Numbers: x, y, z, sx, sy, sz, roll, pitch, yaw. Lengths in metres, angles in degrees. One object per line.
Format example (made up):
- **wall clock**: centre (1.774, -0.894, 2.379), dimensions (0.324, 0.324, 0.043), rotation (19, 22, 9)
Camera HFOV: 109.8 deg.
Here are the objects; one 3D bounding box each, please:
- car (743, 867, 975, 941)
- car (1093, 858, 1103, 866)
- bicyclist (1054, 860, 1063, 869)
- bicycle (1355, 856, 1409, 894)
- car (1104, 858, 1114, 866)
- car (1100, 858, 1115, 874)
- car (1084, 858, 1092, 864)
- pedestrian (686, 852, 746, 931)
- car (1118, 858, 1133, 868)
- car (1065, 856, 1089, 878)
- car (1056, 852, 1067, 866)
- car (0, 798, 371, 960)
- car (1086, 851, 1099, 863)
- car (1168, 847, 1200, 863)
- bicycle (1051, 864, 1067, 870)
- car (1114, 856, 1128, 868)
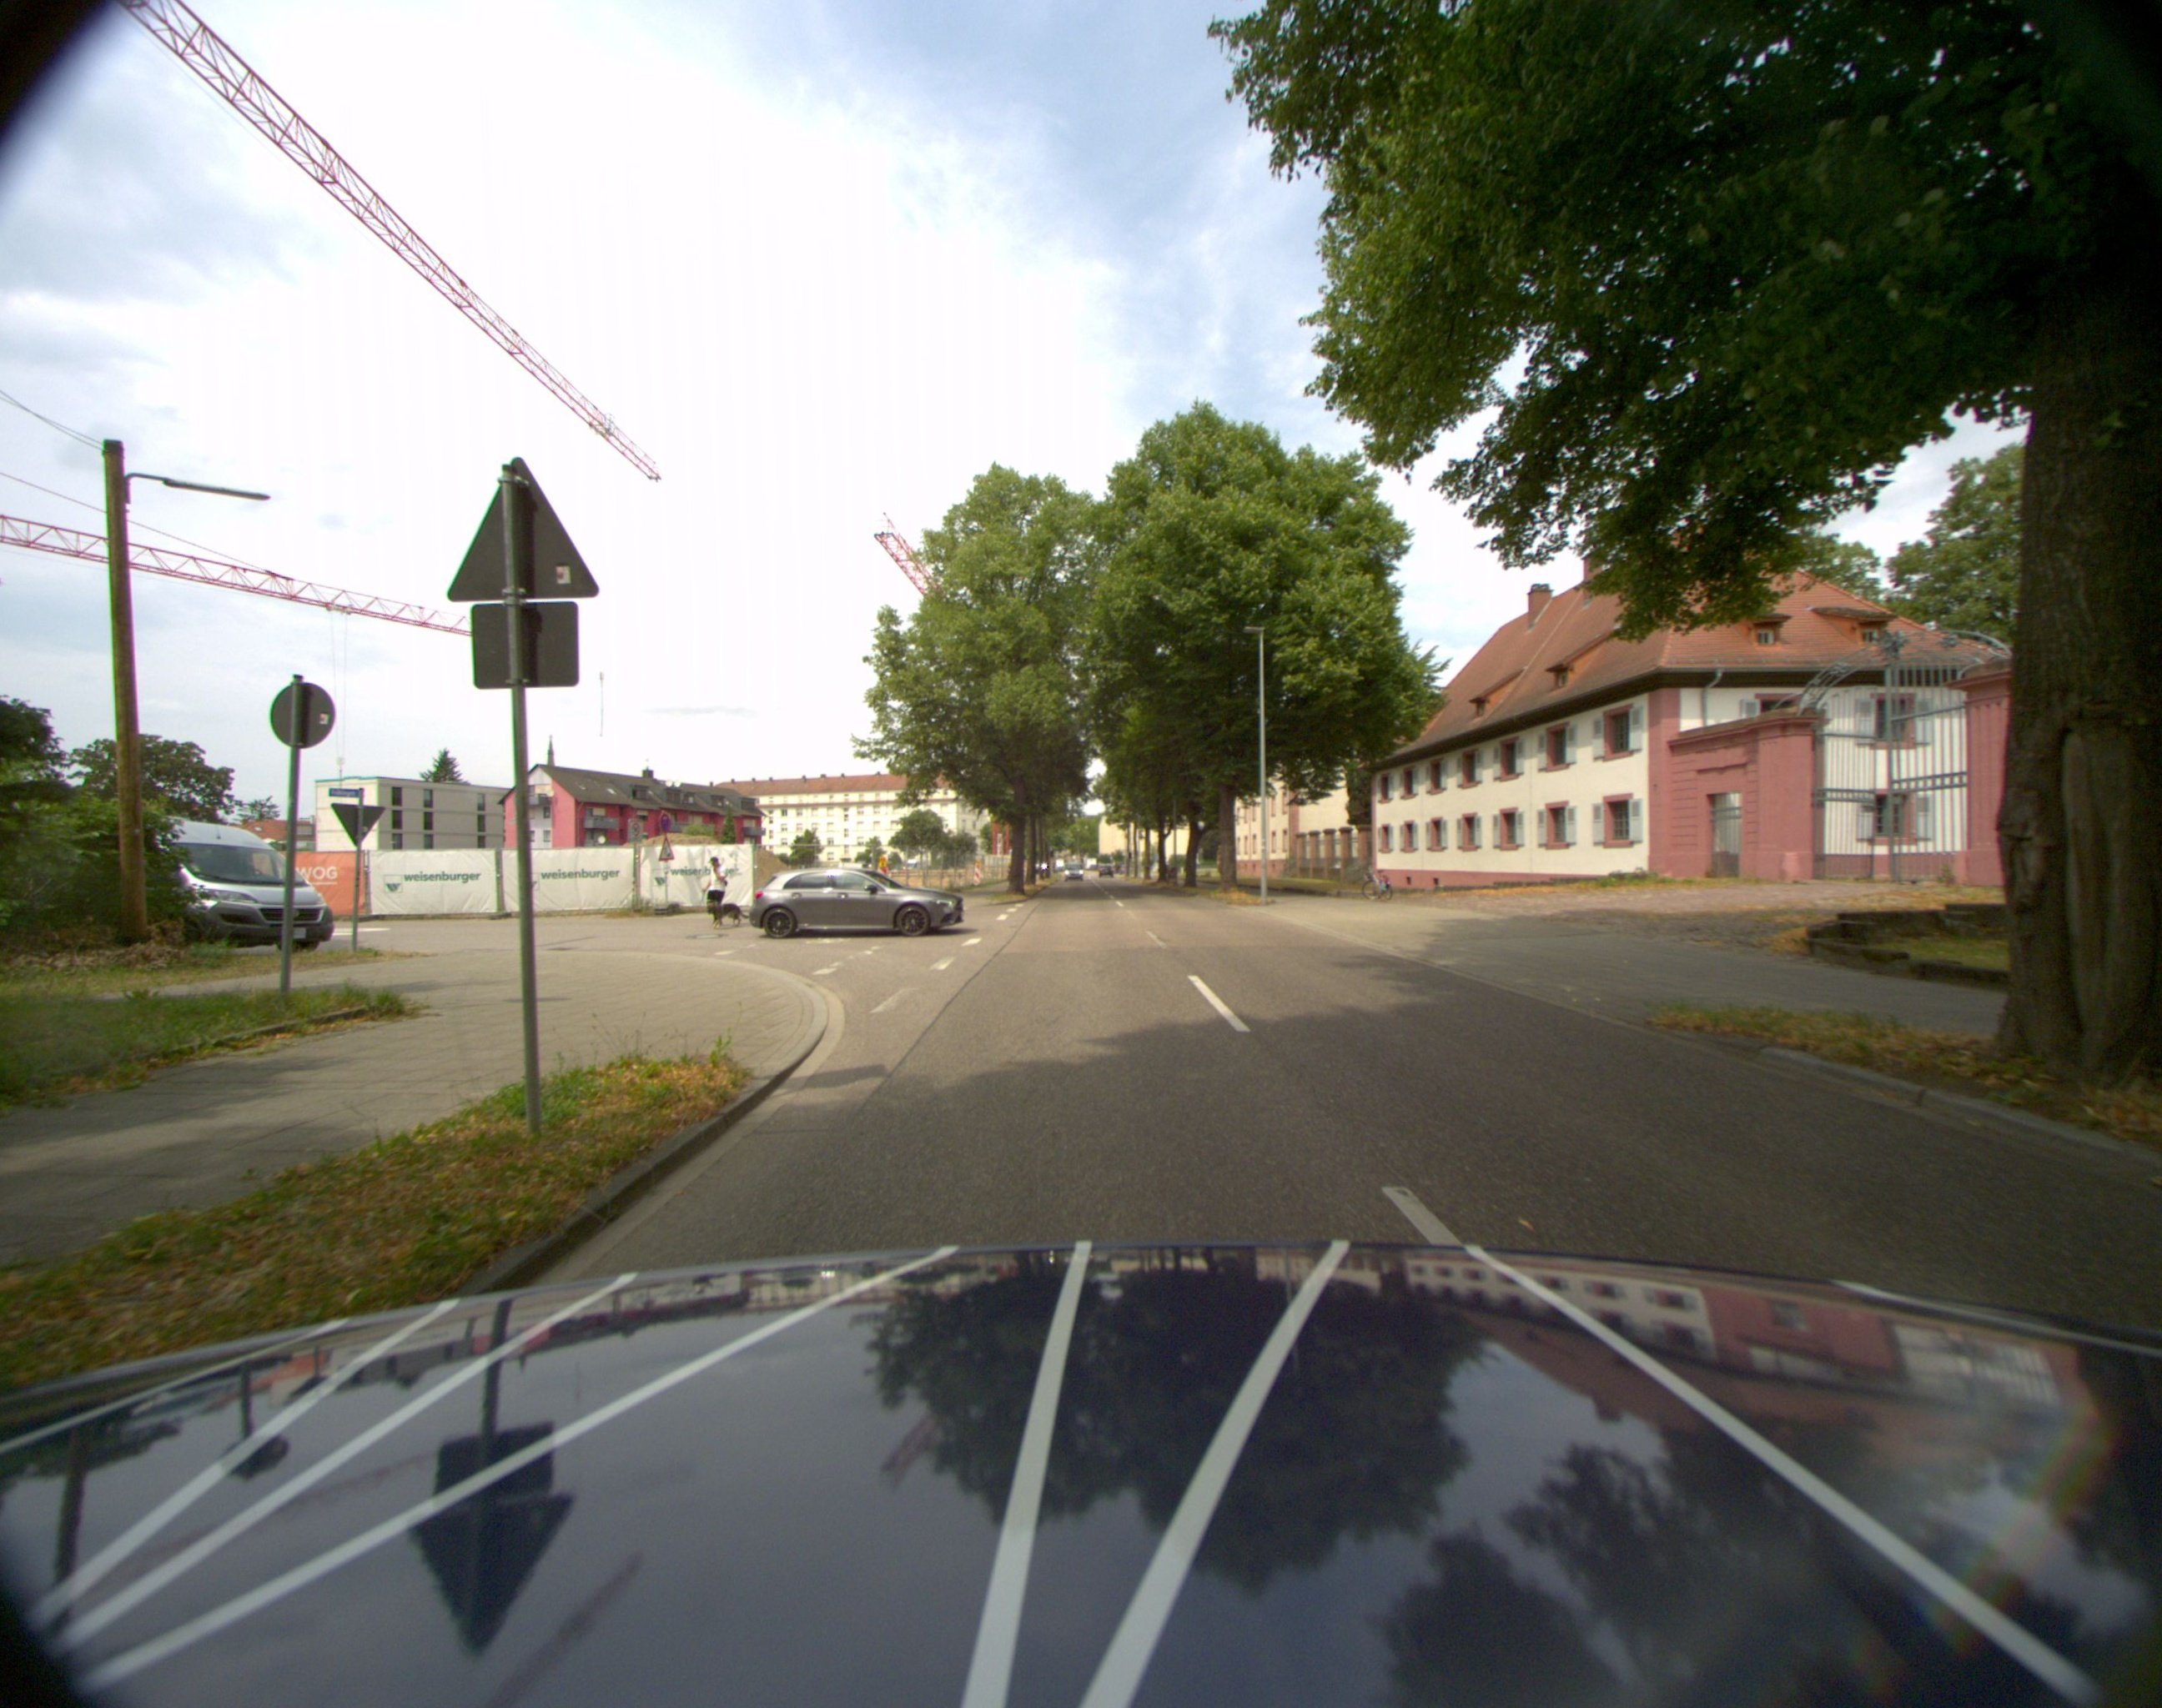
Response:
- **car**: centre (-4.624, 1.027, 16.359), dimensions (4.382, 1.434, 2.011), rotation (0, 0, 0)
- **car**: centre (3.867, 1.831, 174.194), dimensions (1.722, 1.615, 3.838), rotation (0, 0, -5)
- **bicyclist**: centre (-3.419, 1.570, 115.301), dimensions (1.078, 1.404, 0.716), rotation (-3, -2, 32)
- **bicycle**: centre (9.451, 0.652, 23.933), dimensions (0.724, 1.088, 2.225), rotation (-4, 0, 0)
- **car**: centre (5.513, 1.502, 150.311), dimensions (1.627, 1.565, 3.998), rotation (0, 0, -5)
- **car**: centre (3.314, 1.446, 94.202), dimensions (1.776, 1.650, 4.254), rotation (0, 4, 1)
- **car**: centre (1.918, 1.896, 202.517), dimensions (1.853, 1.623, 4.217), rotation (1, 0, -3)
- **pedestrian**: centre (-8.740, 0.873, 18.213), dimensions (0.883, 1.804, 0.890), rotation (2, 1, 19)
- **car**: centre (6.915, 1.398, 117.330), dimensions (1.827, 1.464, 4.297), rotation (-2, 0, -2)
- **car**: centre (-0.425, 1.264, 73.723), dimensions (1.999, 2.002, 3.998), rotation (2, 0, -3)
- **car**: centre (-4.037, 1.012, 156.895), dimensions (1.900, 2.587, 4.903), rotation (-3, 0, -3)
- **car**: centre (-16.453, 0.439, 13.508), dimensions (5.486, 2.616, 2.337), rotation (0, -2, 2)
- **car**: centre (2.758, 0.775, 189.660), dimensions (2.622, 3.039, 7.112), rotation (1, -1, -3)
- **car**: centre (17.835, 0.135, 131.761), dimensions (5.324, 2.537, 2.355), rotation (-2, 0, 1)
- **bicycle**: centre (-3.382, 1.941, 115.271), dimensions (2.473, 0.927, 0.716), rotation (-1, -1, 32)
- **car**: centre (6.633, 1.329, 127.788), dimensions (1.954, 1.992, 4.843), rotation (-2, 0, -1)
